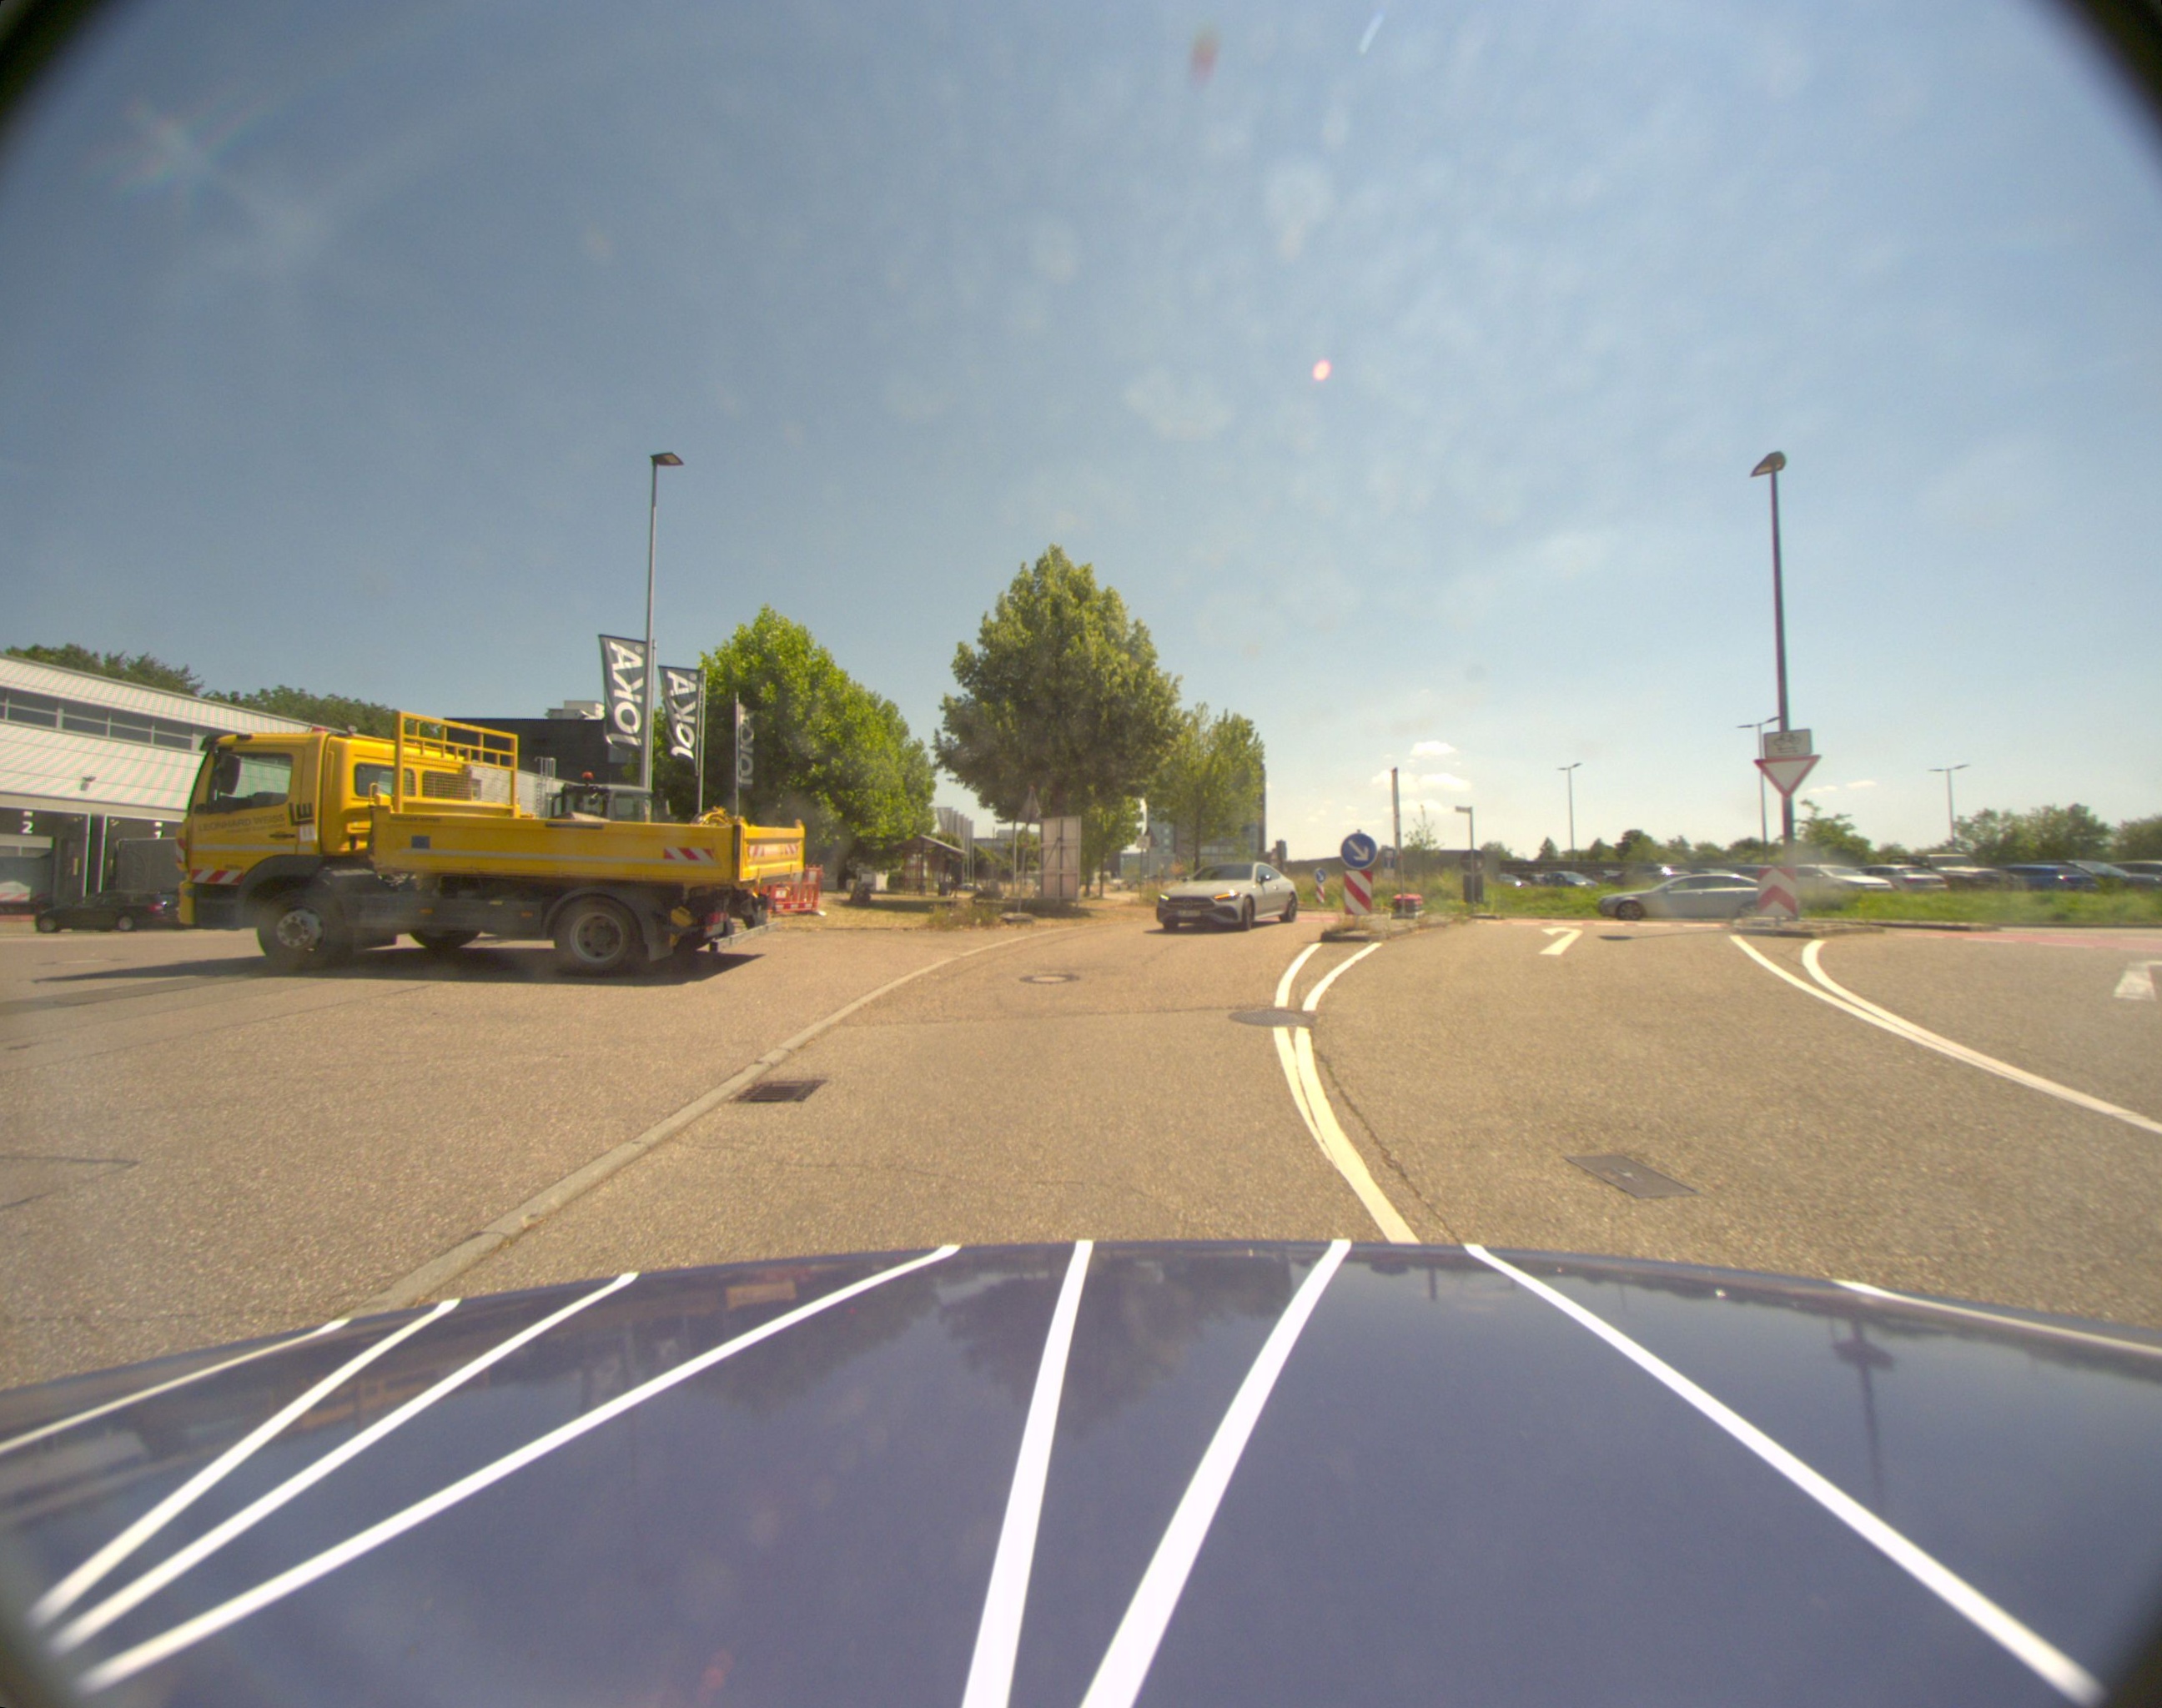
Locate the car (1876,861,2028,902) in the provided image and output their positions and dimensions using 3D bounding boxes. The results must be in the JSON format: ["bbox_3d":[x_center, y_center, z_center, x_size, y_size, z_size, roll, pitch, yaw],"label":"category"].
[{"bbox_3d":[34.701,1.124,30.447,1.874,1.517,3.752,-2,-3,5],"label":"car"}]

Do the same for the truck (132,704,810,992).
[{"bbox_3d":[-7.141,-0.029,9.736,6.421,3.118,2.594,1,1,-4],"label":"truck"}]

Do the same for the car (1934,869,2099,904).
[{"bbox_3d":[37.345,1.318,30.504,1.585,1.249,3.948,-2,-3,-3],"label":"car"}]

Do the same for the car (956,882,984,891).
[{"bbox_3d":[-16.312,4.788,111.827,3.890,1.266,1.705,0,-1,-1],"label":"car"}]

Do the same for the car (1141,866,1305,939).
[{"bbox_3d":[3.287,1.046,16.804,1.893,1.374,4.645,-2,-4,33],"label":"car"}]

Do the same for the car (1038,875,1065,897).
[{"bbox_3d":[-2.249,2.492,58.676,1.678,1.495,3.577,-1,-5,3],"label":"car"}]

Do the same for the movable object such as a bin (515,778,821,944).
[{"bbox_3d":[-7.566,0.135,15.111,1.998,2.566,6.581,-1,0,5],"label":"movable object such as a bin"}]

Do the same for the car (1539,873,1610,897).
[{"bbox_3d":[29.891,1.869,46.153,1.653,1.437,3.638,0,-2,-7],"label":"car"}]

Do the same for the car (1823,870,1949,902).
[{"bbox_3d":[32.099,1.305,30.428,1.500,1.174,3.272,-2,-3,0],"label":"car"}]

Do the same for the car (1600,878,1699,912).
[{"bbox_3d":[30.677,2.239,41.191,1.776,1.679,4.606,1,-3,-1],"label":"car"}]

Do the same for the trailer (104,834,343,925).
[{"bbox_3d":[-34.110,1.062,30.408,6.707,3.436,2.179,-1,-4,-2],"label":"trailer"}]

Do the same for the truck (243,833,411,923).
[{"bbox_3d":[-30.174,0.991,30.542,4.343,3.429,2.159,-1,-4,-2],"label":"truck"}]

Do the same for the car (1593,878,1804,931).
[{"bbox_3d":[17.671,1.512,22.072,4.486,1.365,1.678,-4,-6,31],"label":"car"}]

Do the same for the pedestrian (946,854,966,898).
[{"bbox_3d":[-4.884,0.863,29.754,0.578,1.658,0.532,-3,-5,27],"label":"pedestrian"}]

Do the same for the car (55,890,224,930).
[{"bbox_3d":[-33.965,2.030,27.495,3.791,1.392,1.809,0,-4,0],"label":"car"}]

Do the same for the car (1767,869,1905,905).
[{"bbox_3d":[29.730,1.330,30.091,1.573,1.289,3.880,-2,-3,1],"label":"car"}]

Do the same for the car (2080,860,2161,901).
[{"bbox_3d":[42.571,1.032,29.798,1.616,1.614,3.850,0,-2,-3],"label":"car"}]
